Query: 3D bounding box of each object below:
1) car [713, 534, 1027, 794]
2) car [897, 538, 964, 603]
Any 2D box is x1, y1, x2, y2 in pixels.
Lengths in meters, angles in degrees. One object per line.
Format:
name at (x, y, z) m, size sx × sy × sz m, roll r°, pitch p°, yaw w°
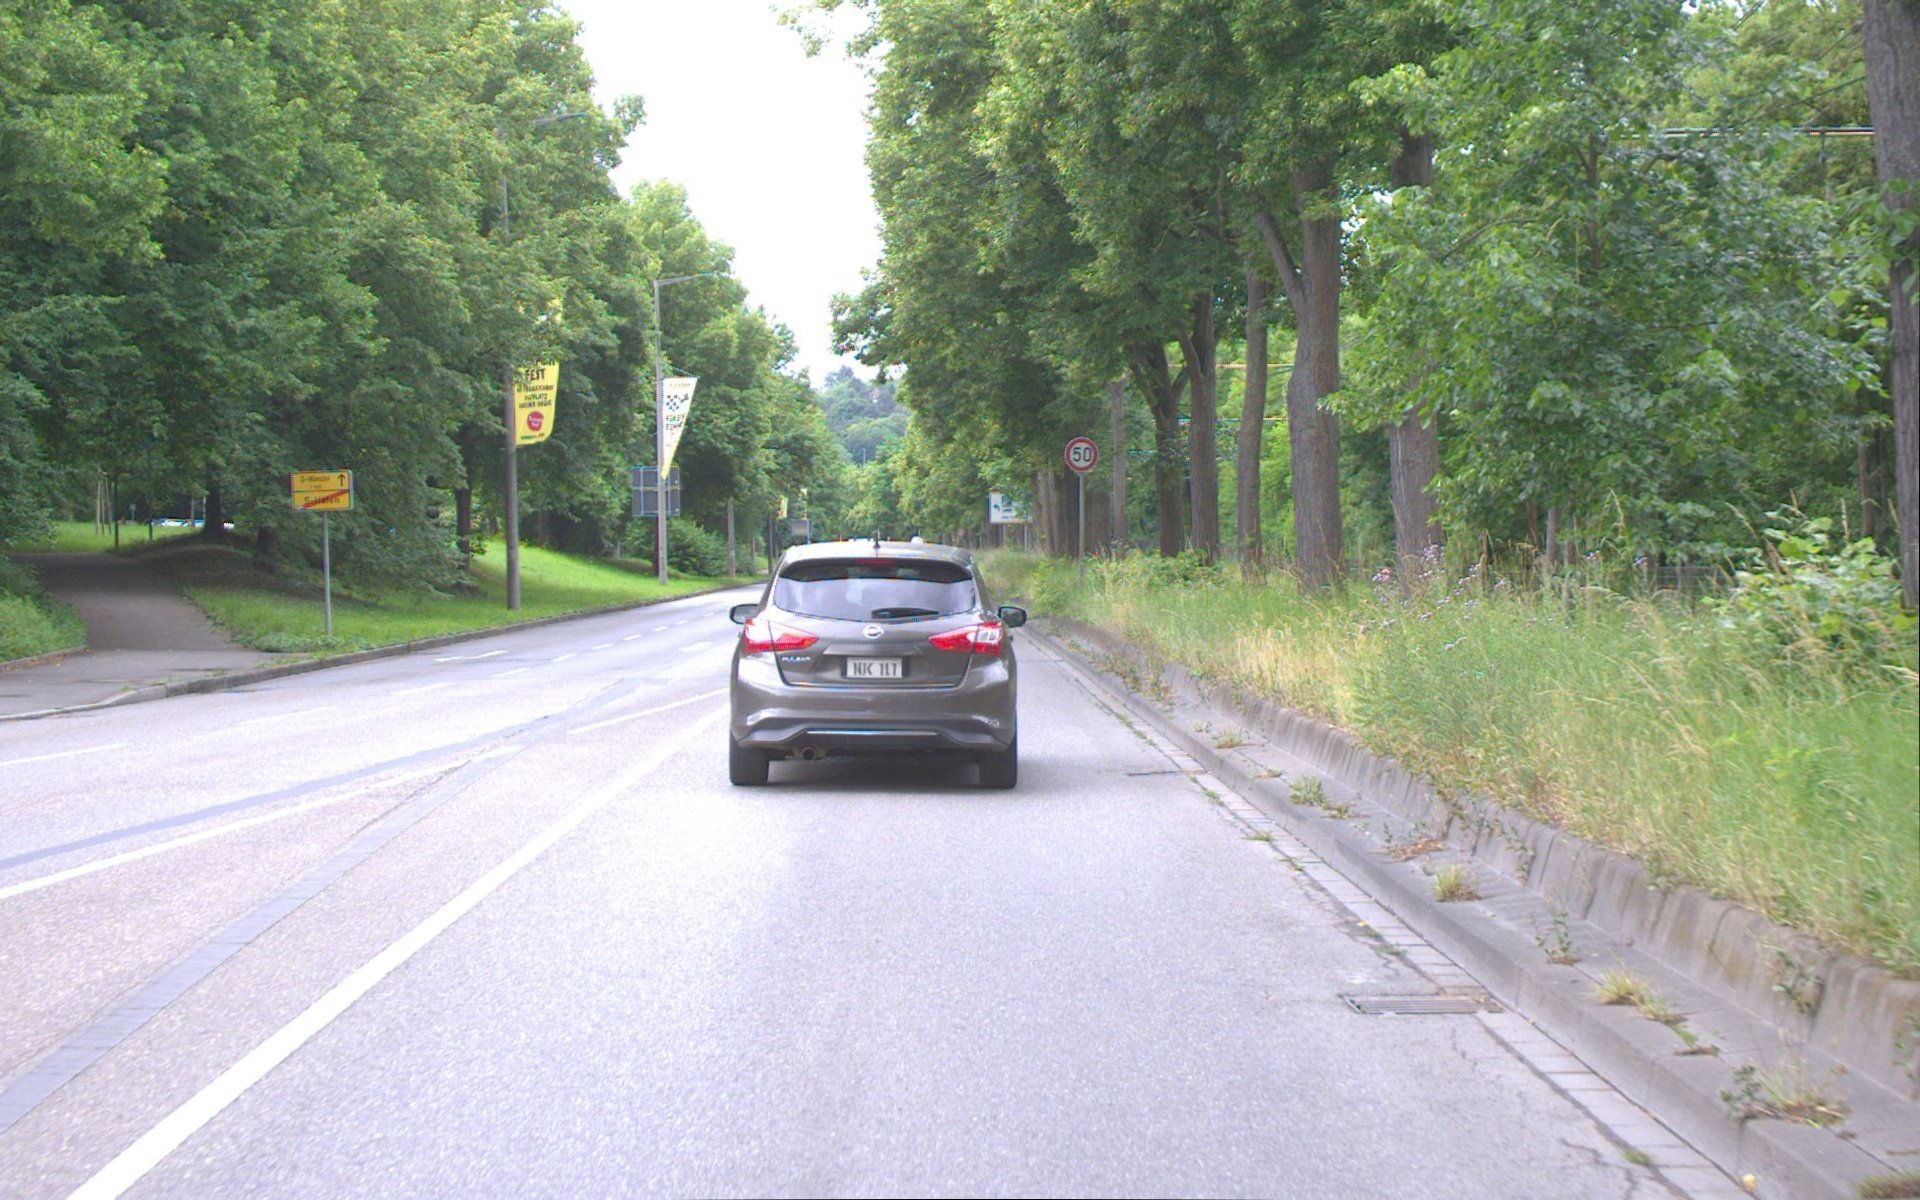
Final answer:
car at (-0.495, 0.359, 22.308) m, size 1.837 × 1.523 × 3.929 m, roll 1°, pitch 1°, yaw 1°
car at (-0.705, -0.724, 84.230) m, size 1.503 × 1.523 × 3.671 m, roll 1°, pitch 1°, yaw 1°
